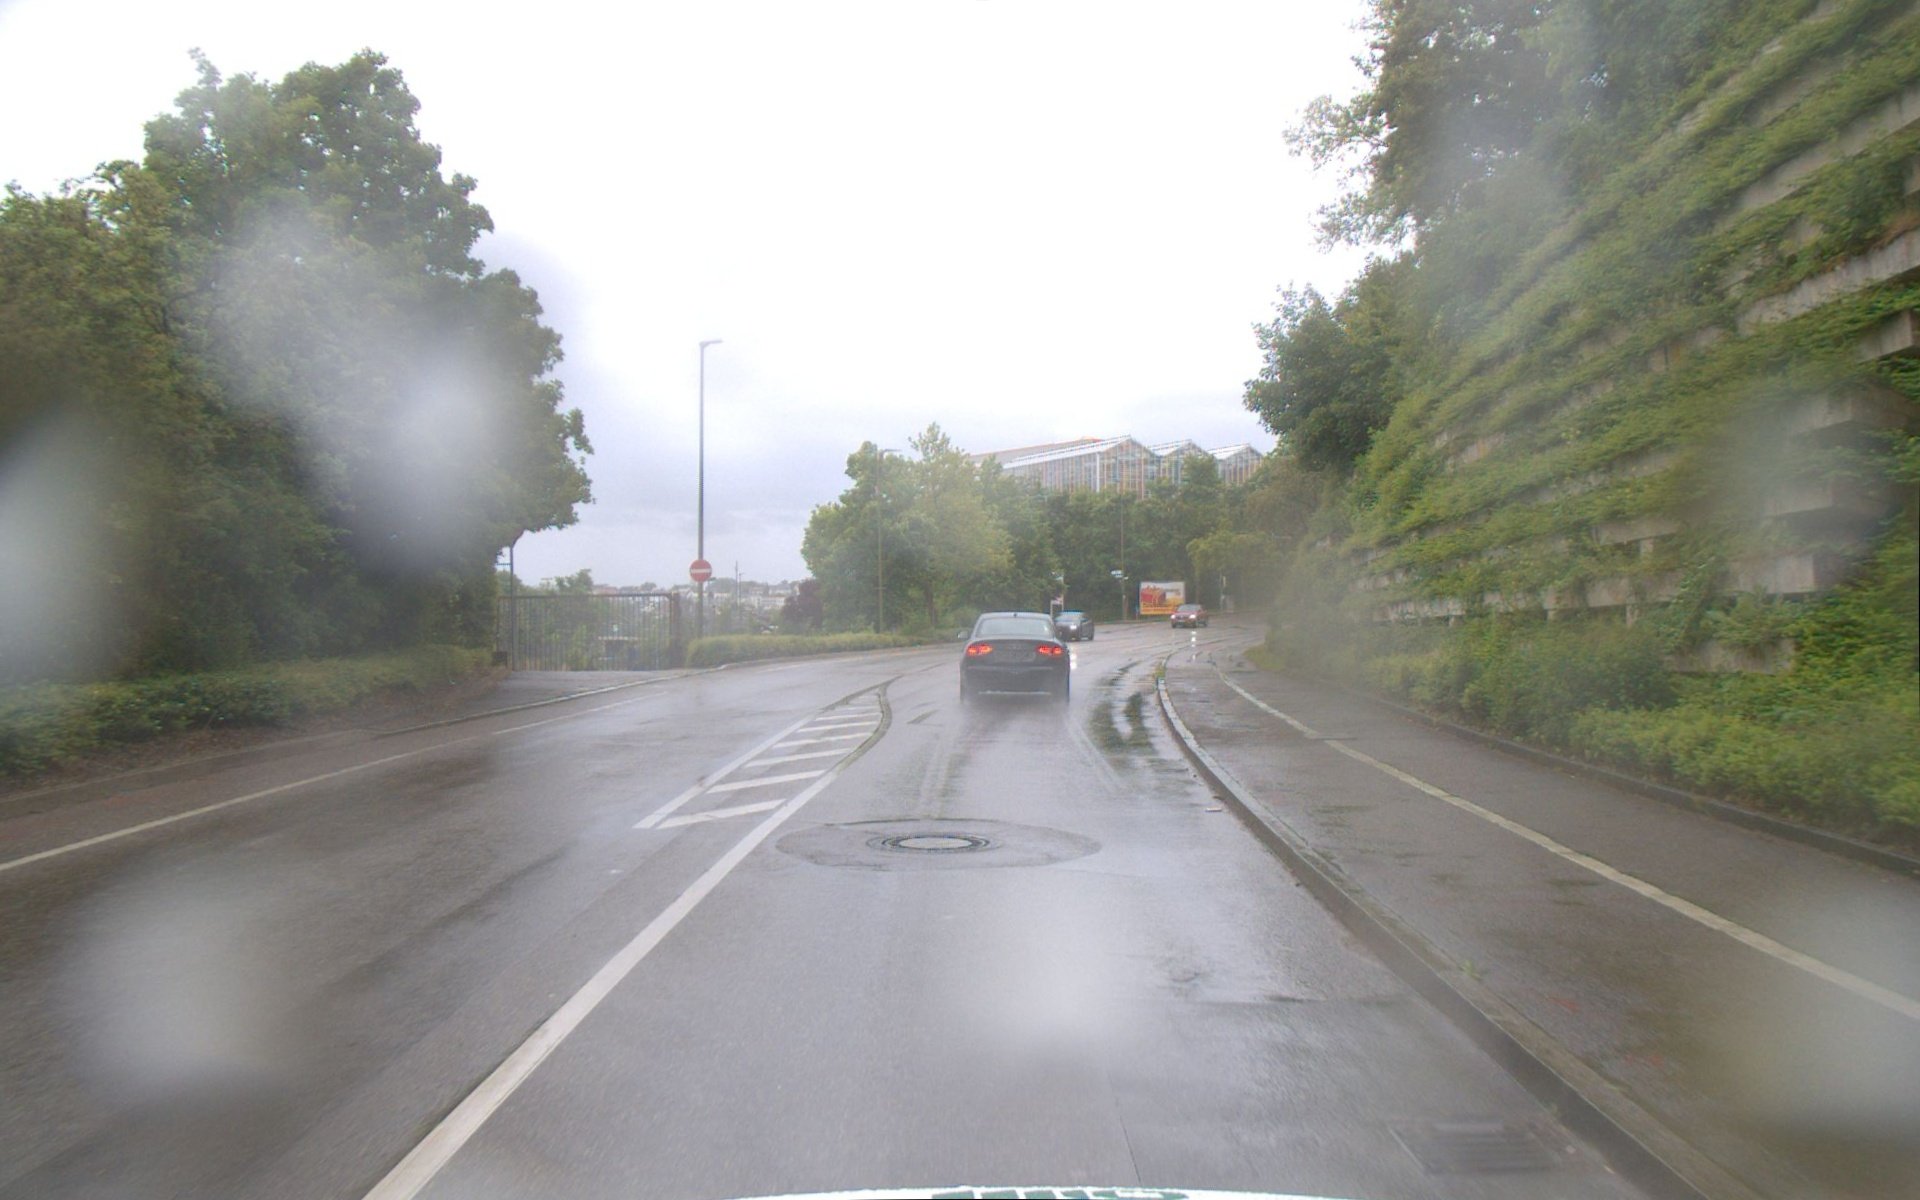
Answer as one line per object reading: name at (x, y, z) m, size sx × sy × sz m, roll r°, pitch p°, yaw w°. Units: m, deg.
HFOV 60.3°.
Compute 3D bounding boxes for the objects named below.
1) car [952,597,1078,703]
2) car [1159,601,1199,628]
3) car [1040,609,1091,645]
car at (0.818, 0.751, 26.998) m, size 1.854 × 1.518 × 4.207 m, roll 2°, pitch 1°, yaw -1°
car at (15.062, 0.999, 113.614) m, size 1.952 × 1.771 × 4.001 m, roll 0°, pitch 0°, yaw 20°
car at (5.487, 1.380, 85.812) m, size 1.951 × 1.771 × 4.003 m, roll 0°, pitch 0°, yaw 14°
